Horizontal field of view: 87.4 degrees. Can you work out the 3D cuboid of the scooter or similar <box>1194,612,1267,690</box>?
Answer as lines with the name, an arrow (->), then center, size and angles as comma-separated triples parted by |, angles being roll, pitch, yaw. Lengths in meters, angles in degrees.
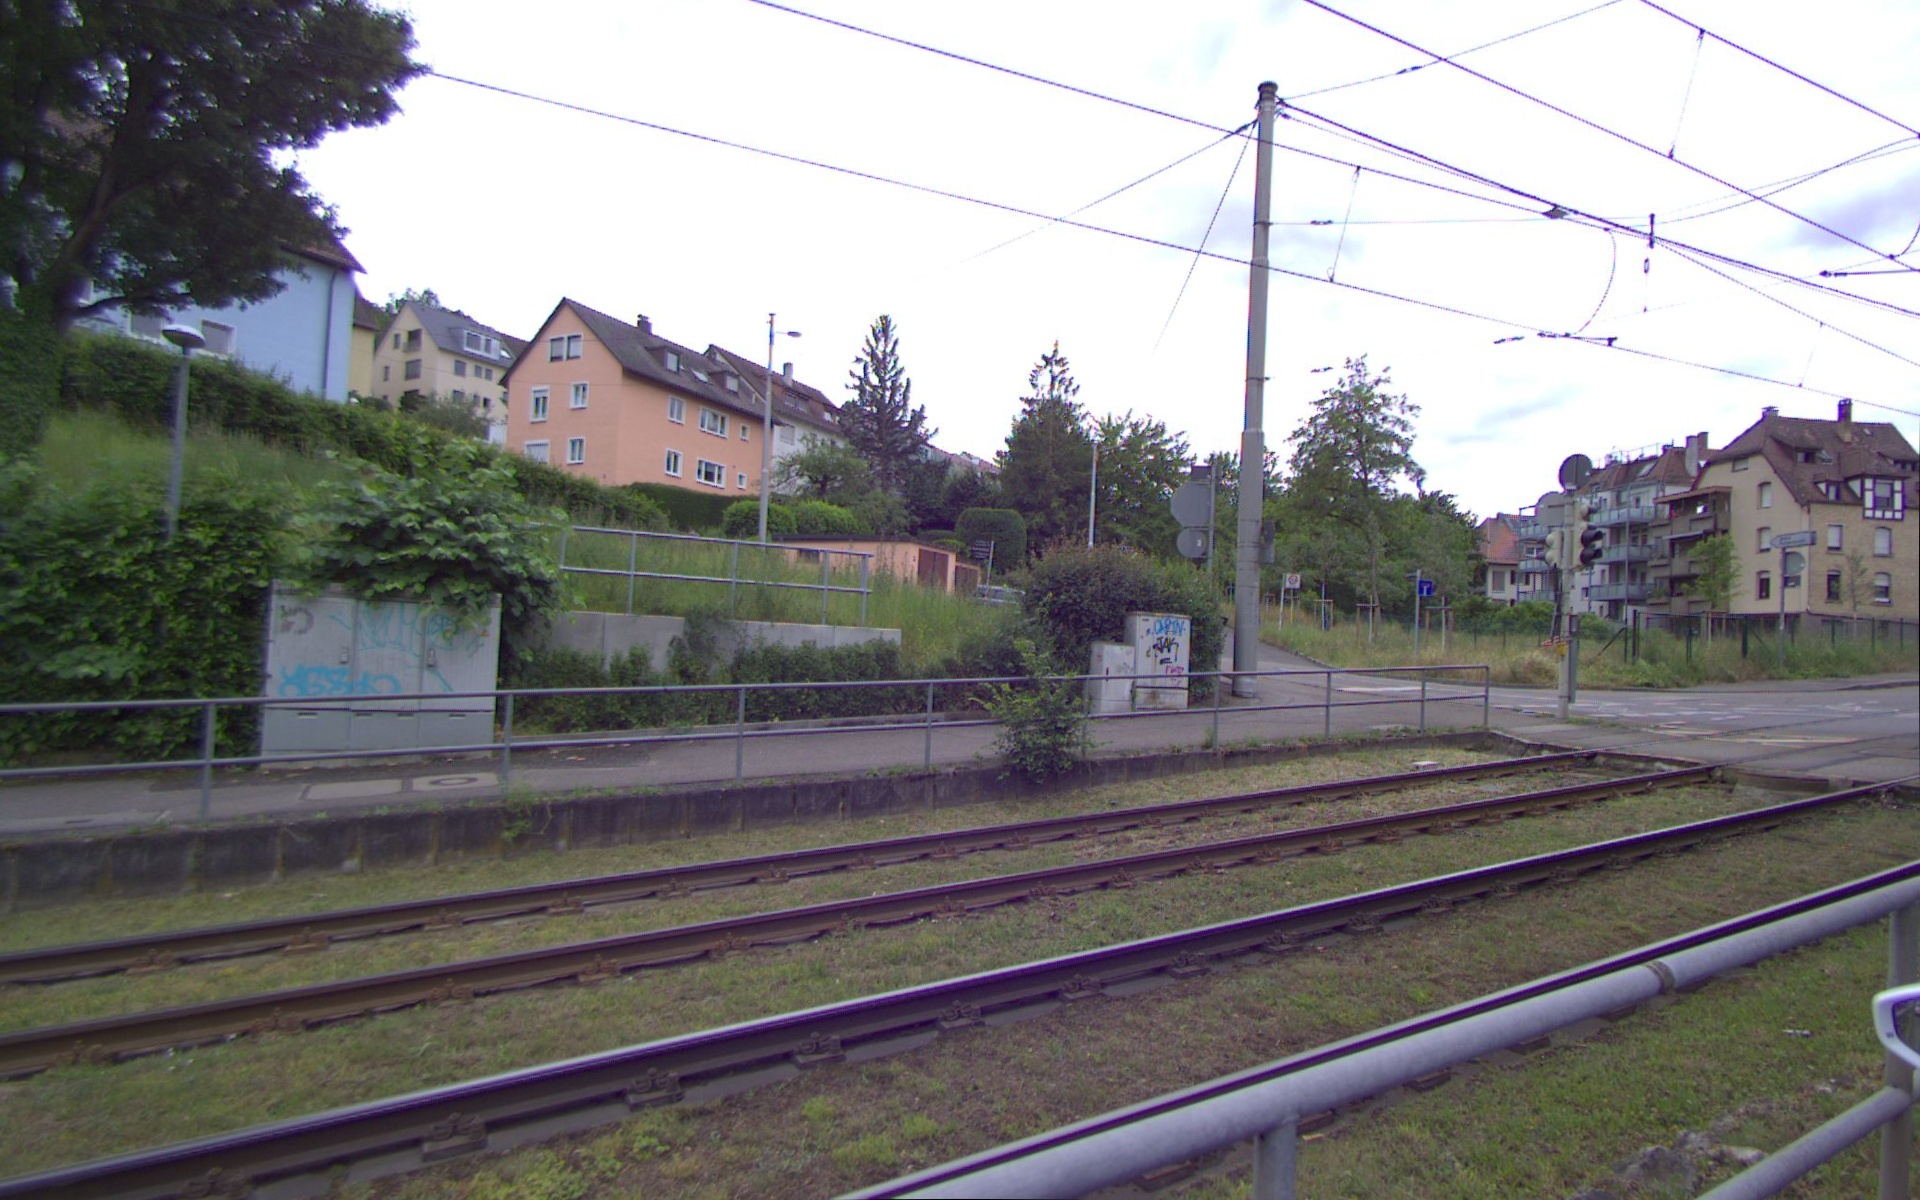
scooter or similar -> 5.086, 0.938, 18.962 | 0.413, 1.306, 1.402 | 1, 3, -29

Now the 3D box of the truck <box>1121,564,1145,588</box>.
truck -> 28.964, -3.957, 168.174 | 3.488, 3.648, 8.205 | 1, -1, 7

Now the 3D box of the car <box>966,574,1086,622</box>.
car -> 2.913, -0.093, 44.503 | 4.791, 1.634, 1.997 | 6, 2, 28
